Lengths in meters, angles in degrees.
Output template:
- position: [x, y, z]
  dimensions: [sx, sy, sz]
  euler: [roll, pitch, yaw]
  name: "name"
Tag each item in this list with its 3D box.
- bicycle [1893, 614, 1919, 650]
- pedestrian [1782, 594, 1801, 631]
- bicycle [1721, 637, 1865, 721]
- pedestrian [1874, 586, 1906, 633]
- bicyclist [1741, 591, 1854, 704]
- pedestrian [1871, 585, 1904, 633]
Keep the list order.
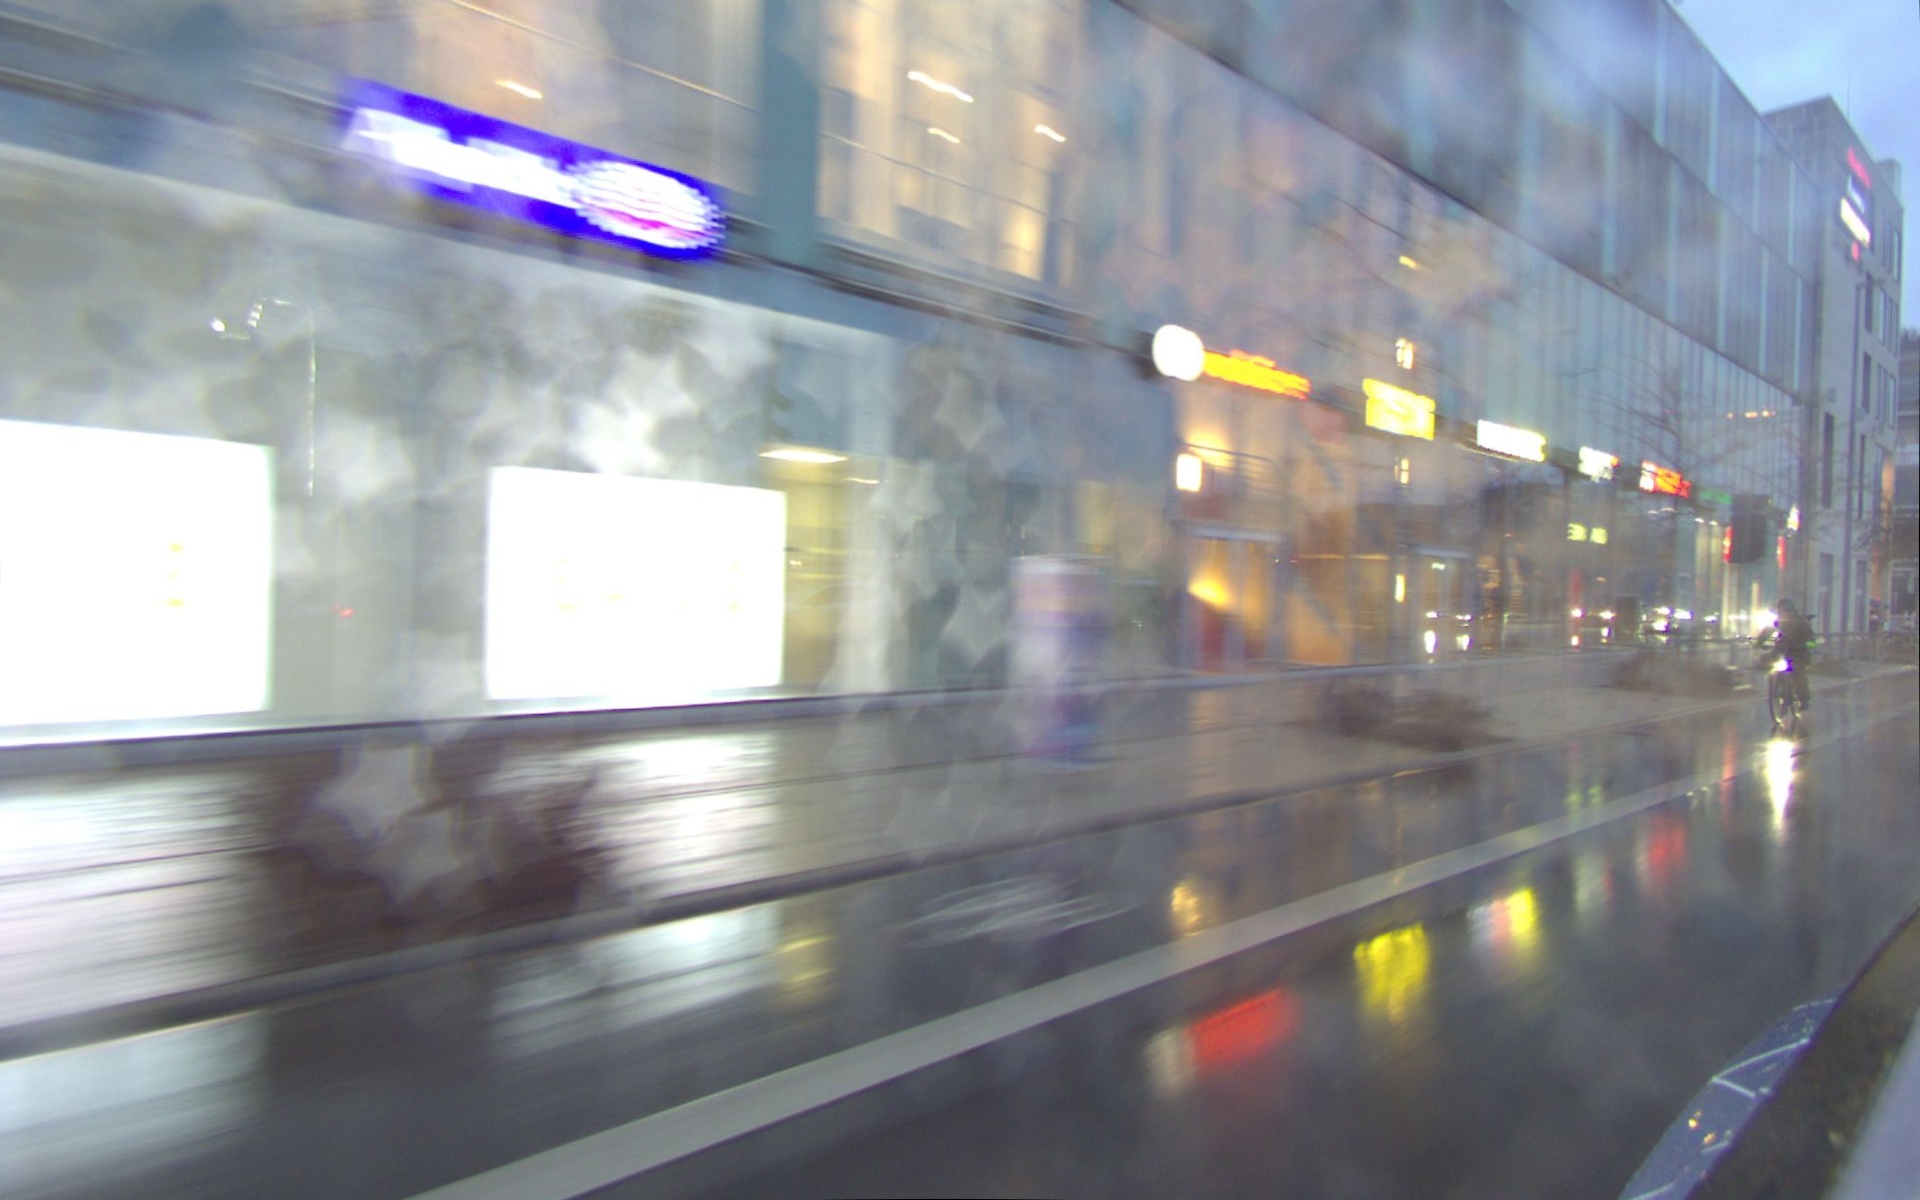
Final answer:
- position: [33.628, 1.141, 34.977]
  dimensions: [0.655, 1.189, 1.908]
  euler: [1, 2, -39]
  name: "bicycle"
- position: [41.111, 0.629, 50.049]
  dimensions: [0.612, 1.828, 0.616]
  euler: [2, -1, -38]
  name: "pedestrian"
- position: [11.413, 1.039, 13.840]
  dimensions: [2.197, 1.012, 0.946]
  euler: [1, 0, -34]
  name: "bicycle"
- position: [44.640, 0.449, 48.587]
  dimensions: [0.569, 2.189, 0.969]
  euler: [1, 0, -27]
  name: "pedestrian"
- position: [11.533, 0.623, 13.935]
  dimensions: [1.046, 1.481, 0.946]
  euler: [1, 0, -34]
  name: "bicyclist"
- position: [44.188, 0.419, 48.218]
  dimensions: [0.696, 2.220, 0.963]
  euler: [1, 0, -27]
  name: "pedestrian"
